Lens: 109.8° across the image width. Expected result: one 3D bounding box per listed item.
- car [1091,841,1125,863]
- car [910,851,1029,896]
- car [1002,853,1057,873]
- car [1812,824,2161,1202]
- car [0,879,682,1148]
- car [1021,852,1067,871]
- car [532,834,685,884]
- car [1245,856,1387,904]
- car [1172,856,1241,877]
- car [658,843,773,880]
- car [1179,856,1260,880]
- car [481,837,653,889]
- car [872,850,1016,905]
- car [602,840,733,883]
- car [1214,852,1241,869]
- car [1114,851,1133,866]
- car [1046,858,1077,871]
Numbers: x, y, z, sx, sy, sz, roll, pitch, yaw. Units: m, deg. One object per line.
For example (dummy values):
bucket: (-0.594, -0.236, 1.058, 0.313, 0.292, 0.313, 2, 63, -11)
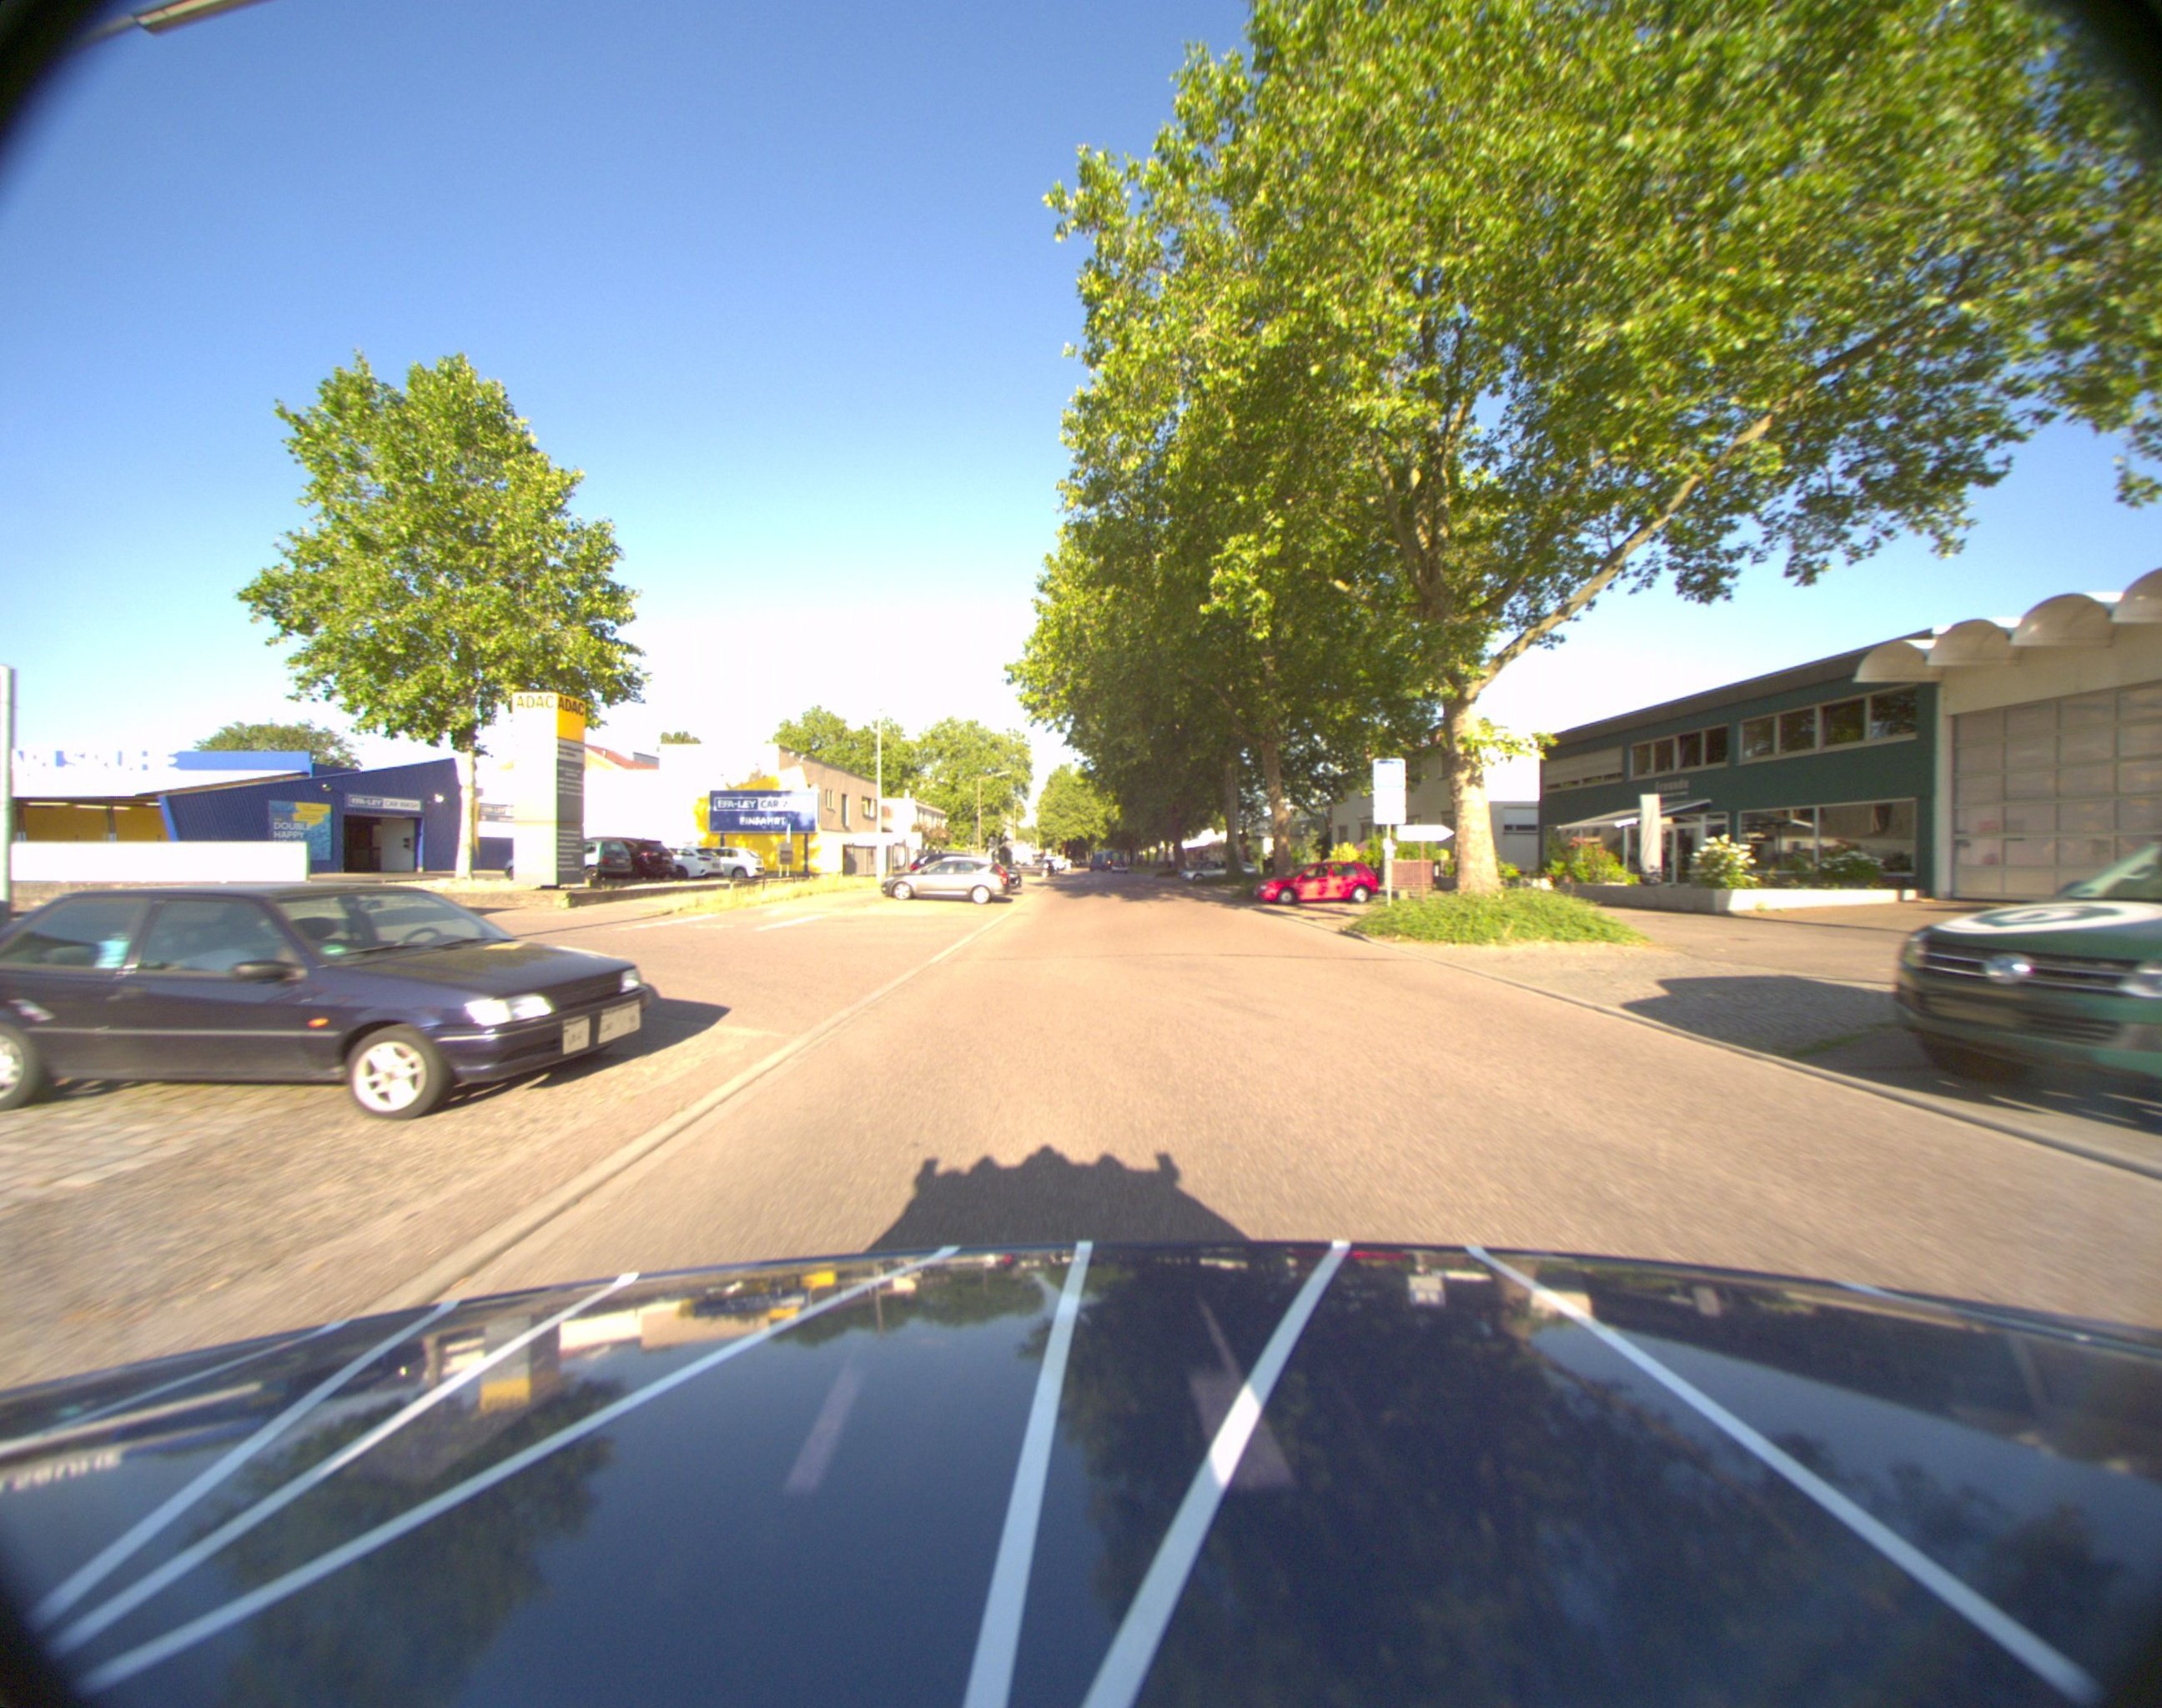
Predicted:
car: (3.375, -0.186, 97.033, 2.136, 2.643, 6.991, 1, -1, -17)
car: (-4.640, 0.790, 32.159, 4.611, 1.570, 2.000, 3, 1, 3)
car: (-4.452, 0.788, 66.764, 4.636, 1.518, 2.000, 3, 1, -1)
car: (8.021, 0.729, 4.495, 5.273, 1.887, 2.202, -1, 1, 0)
car: (-5.152, 0.897, 5.113, 3.996, 1.288, 1.784, 1, 0, 3)
car: (-3.899, 0.789, 80.648, 4.636, 1.702, 2.000, 3, 1, -1)
car: (-16.359, 0.171, 26.478, 3.998, 1.586, 1.999, -1, 1, -3)
car: (8.084, 0.877, 26.400, 4.307, 1.438, 2.000, -2, 1, 0)
car: (8.616, 0.834, 52.301, 4.365, 1.413, 2.000, 0, 0, -1)
car: (-15.888, 0.311, 33.186, 3.998, 1.488, 1.999, -1, 1, -3)
car: (8.393, 0.830, 46.458, 4.611, 1.413, 2.000, 0, -1, 0)
car: (-16.175, 0.268, 24.099, 3.998, 1.510, 1.999, -1, 1, -3)
car: (-4.719, 0.793, 26.665, 4.612, 1.604, 2.000, 3, 1, 0)
car: (-16.054, 0.280, 29.652, 3.998, 1.510, 1.952, -1, 1, -3)
car: (14.347, 0.625, 74.503, 1.998, 1.567, 4.273, -1, 0, 2)
car: (4.692, 0.437, 83.897, 1.843, 1.562, 3.802, 2, 0, 0)
car: (-2.895, 1.548, 115.006, 4.582, 1.705, 1.943, 3, 0, -3)
